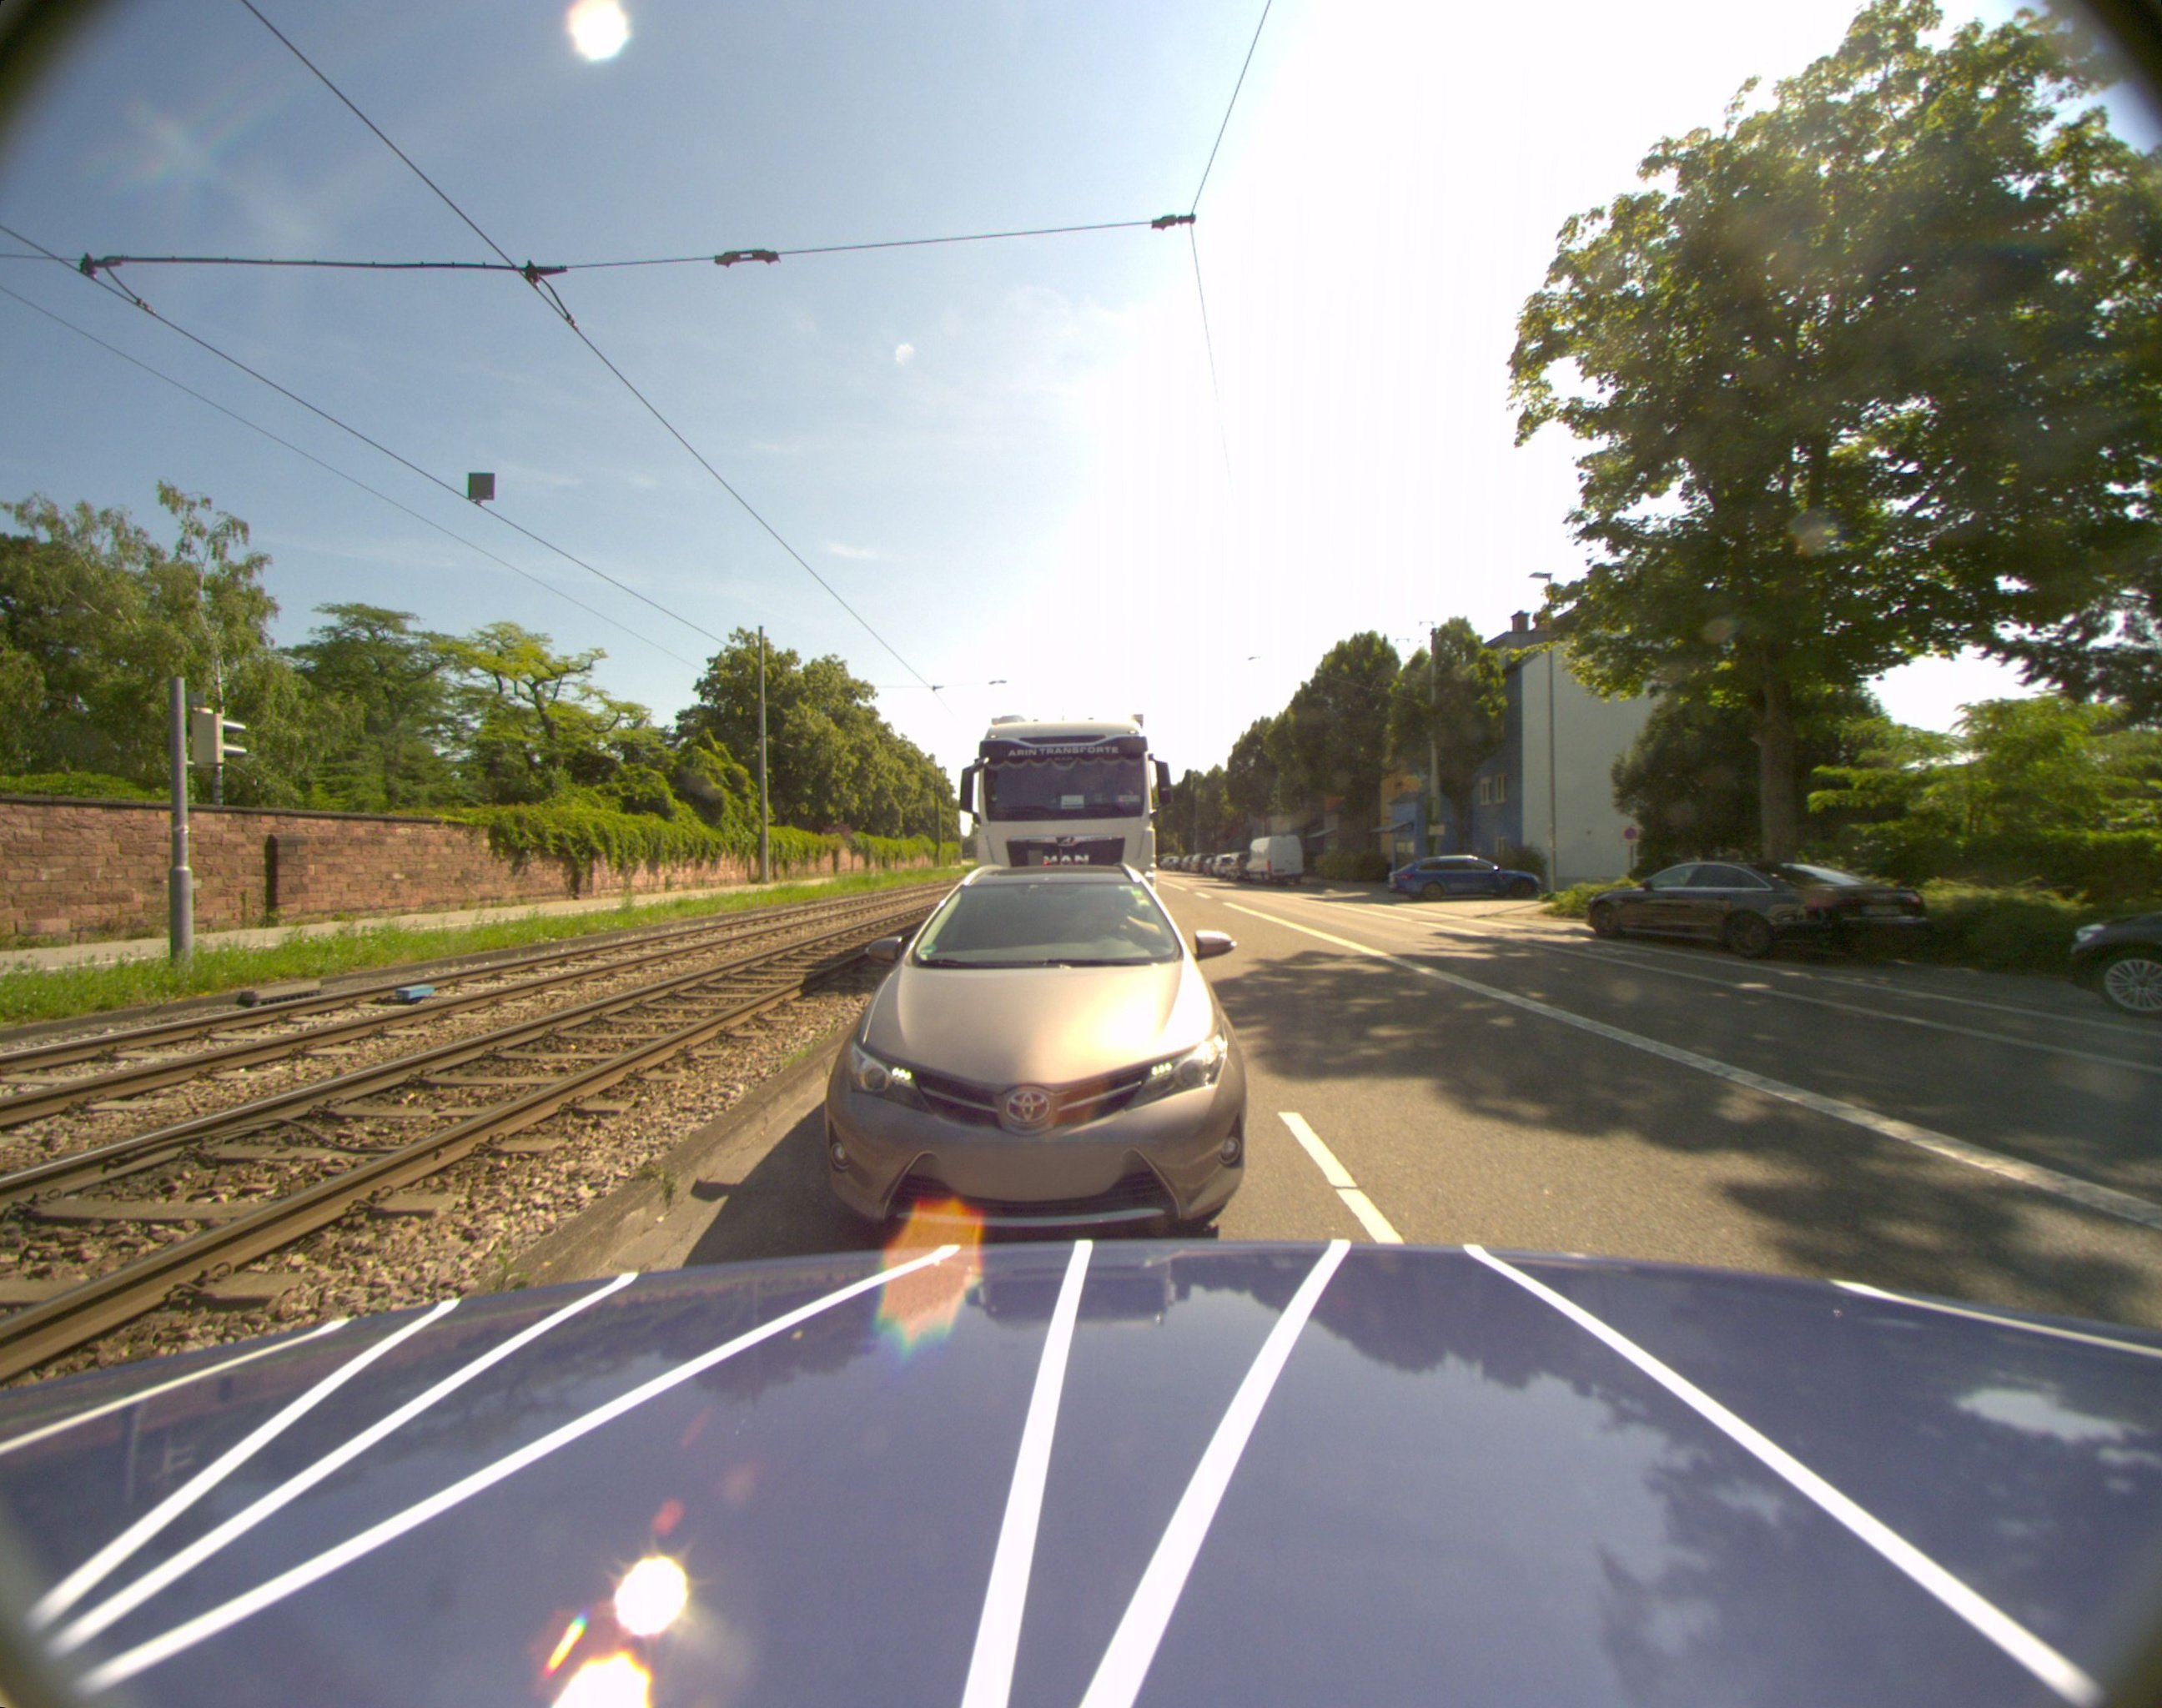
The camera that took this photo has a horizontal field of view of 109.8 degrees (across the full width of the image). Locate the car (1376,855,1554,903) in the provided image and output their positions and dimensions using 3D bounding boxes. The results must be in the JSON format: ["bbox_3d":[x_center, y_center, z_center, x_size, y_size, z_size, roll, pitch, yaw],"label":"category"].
[{"bbox_3d":[12.957,0.828,25.910,5.069,1.422,1.891,-2,0,6],"label":"car"}]

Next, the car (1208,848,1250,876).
[{"bbox_3d":[11.112,0.571,57.382,1.998,1.795,4.769,-6,0,0],"label":"car"}]

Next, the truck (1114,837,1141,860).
[{"bbox_3d":[7.053,-0.790,116.110,2.704,3.263,6.724,-6,0,-5],"label":"truck"}]

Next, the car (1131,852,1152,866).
[{"bbox_3d":[8.339,0.694,105.574,1.999,1.795,5.111,-6,0,-4],"label":"car"}]

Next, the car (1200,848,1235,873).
[{"bbox_3d":[11.259,0.536,62.866,1.998,1.795,4.256,-6,0,0],"label":"car"}]

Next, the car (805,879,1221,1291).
[{"bbox_3d":[-0.231,0.942,4.885,1.573,1.422,4.000,0,0,1],"label":"car"}]

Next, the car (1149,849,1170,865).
[{"bbox_3d":[9.925,0.341,96.882,1.998,1.795,4.769,-6,0,0],"label":"car"}]

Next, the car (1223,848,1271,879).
[{"bbox_3d":[11.165,0.628,51.391,1.998,1.795,4.769,-6,0,0],"label":"car"}]

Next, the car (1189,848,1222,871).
[{"bbox_3d":[11.066,0.465,67.676,1.998,1.795,4.769,-6,0,0],"label":"car"}]

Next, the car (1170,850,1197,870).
[{"bbox_3d":[10.614,0.565,79.170,1.998,1.795,4.769,-6,0,0],"label":"car"}]

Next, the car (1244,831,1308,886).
[{"bbox_3d":[10.926,0.228,43.121,1.998,2.678,6.214,-6,0,2],"label":"car"}]

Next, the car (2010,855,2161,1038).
[{"bbox_3d":[10.576,0.830,5.573,1.868,1.562,4.621,-2,0,1],"label":"car"}]

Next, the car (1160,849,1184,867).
[{"bbox_3d":[10.230,0.406,85.913,1.998,1.795,4.769,-6,0,0],"label":"car"}]

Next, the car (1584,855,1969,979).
[{"bbox_3d":[10.556,0.816,12.163,1.868,1.562,4.621,-1,0,-1],"label":"car"}]

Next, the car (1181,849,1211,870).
[{"bbox_3d":[11.060,0.497,73.380,1.998,1.795,4.769,-6,0,0],"label":"car"}]

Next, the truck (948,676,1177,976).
[{"bbox_3d":[-0.137,-0.389,17.237,2.935,3.856,14.912,0,0,1],"label":"truck"}]
